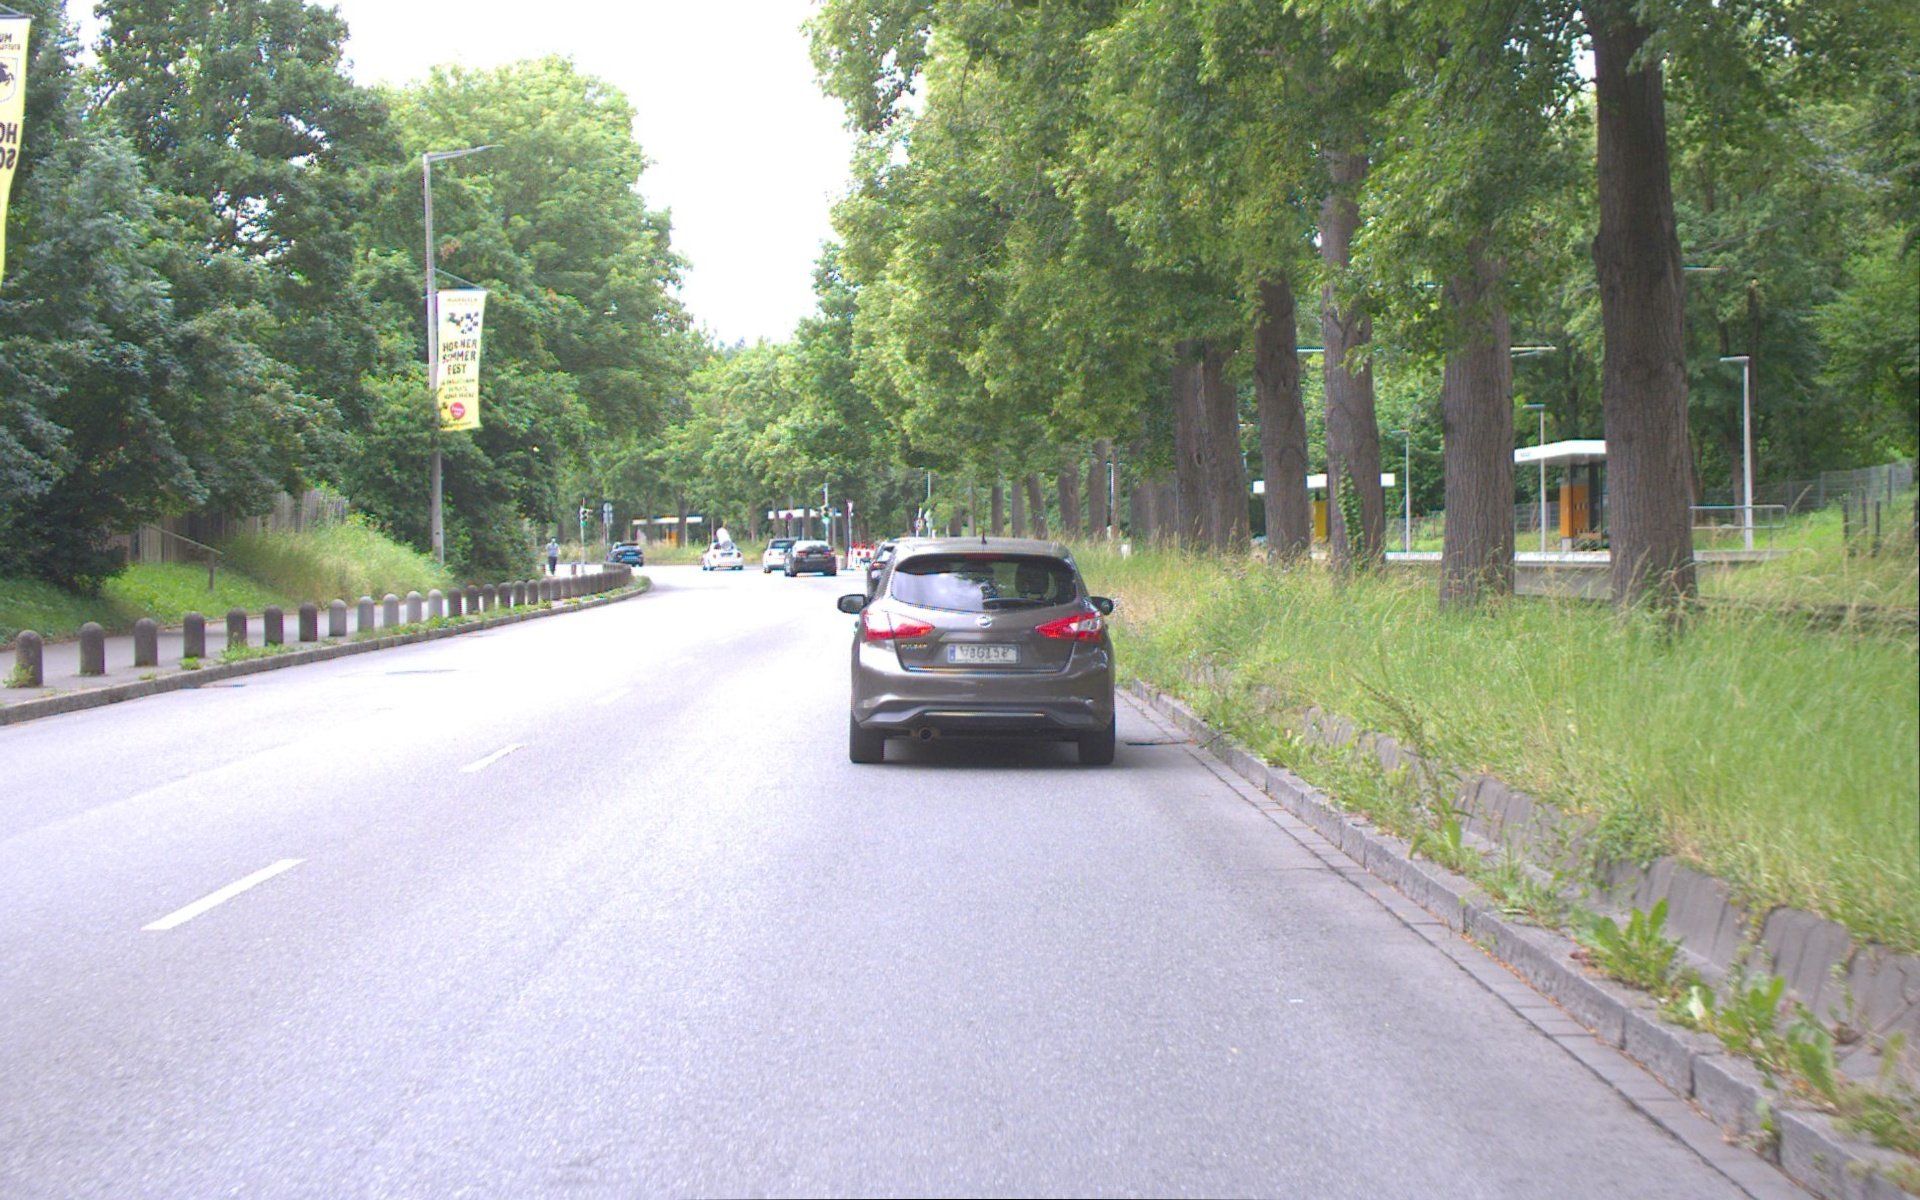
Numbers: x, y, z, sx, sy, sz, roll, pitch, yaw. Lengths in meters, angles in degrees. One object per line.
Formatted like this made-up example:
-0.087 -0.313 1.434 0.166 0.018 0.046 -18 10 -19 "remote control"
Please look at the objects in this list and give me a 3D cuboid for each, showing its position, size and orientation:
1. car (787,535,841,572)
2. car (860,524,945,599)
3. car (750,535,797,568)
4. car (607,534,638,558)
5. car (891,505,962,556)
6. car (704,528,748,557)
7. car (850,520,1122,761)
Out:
-5.887 -1.895 138.303 1.561 1.436 3.553 1 1 -12 "car"
-1.233 -0.845 72.969 1.730 1.532 3.552 1 1 -1 "car"
-8.353 -2.180 153.825 1.561 1.436 3.553 1 1 -12 "car"
-20.539 -3.279 209.027 1.561 1.436 3.553 1 1 -11 "car"
-0.981 -2.006 98.777 1.561 1.436 3.553 1 1 -9 "car"
-11.952 -2.928 175.746 1.561 1.436 3.553 0 1 -15 "car"
0.127 0.220 23.881 1.730 1.532 3.552 1 1 -1 "car"
